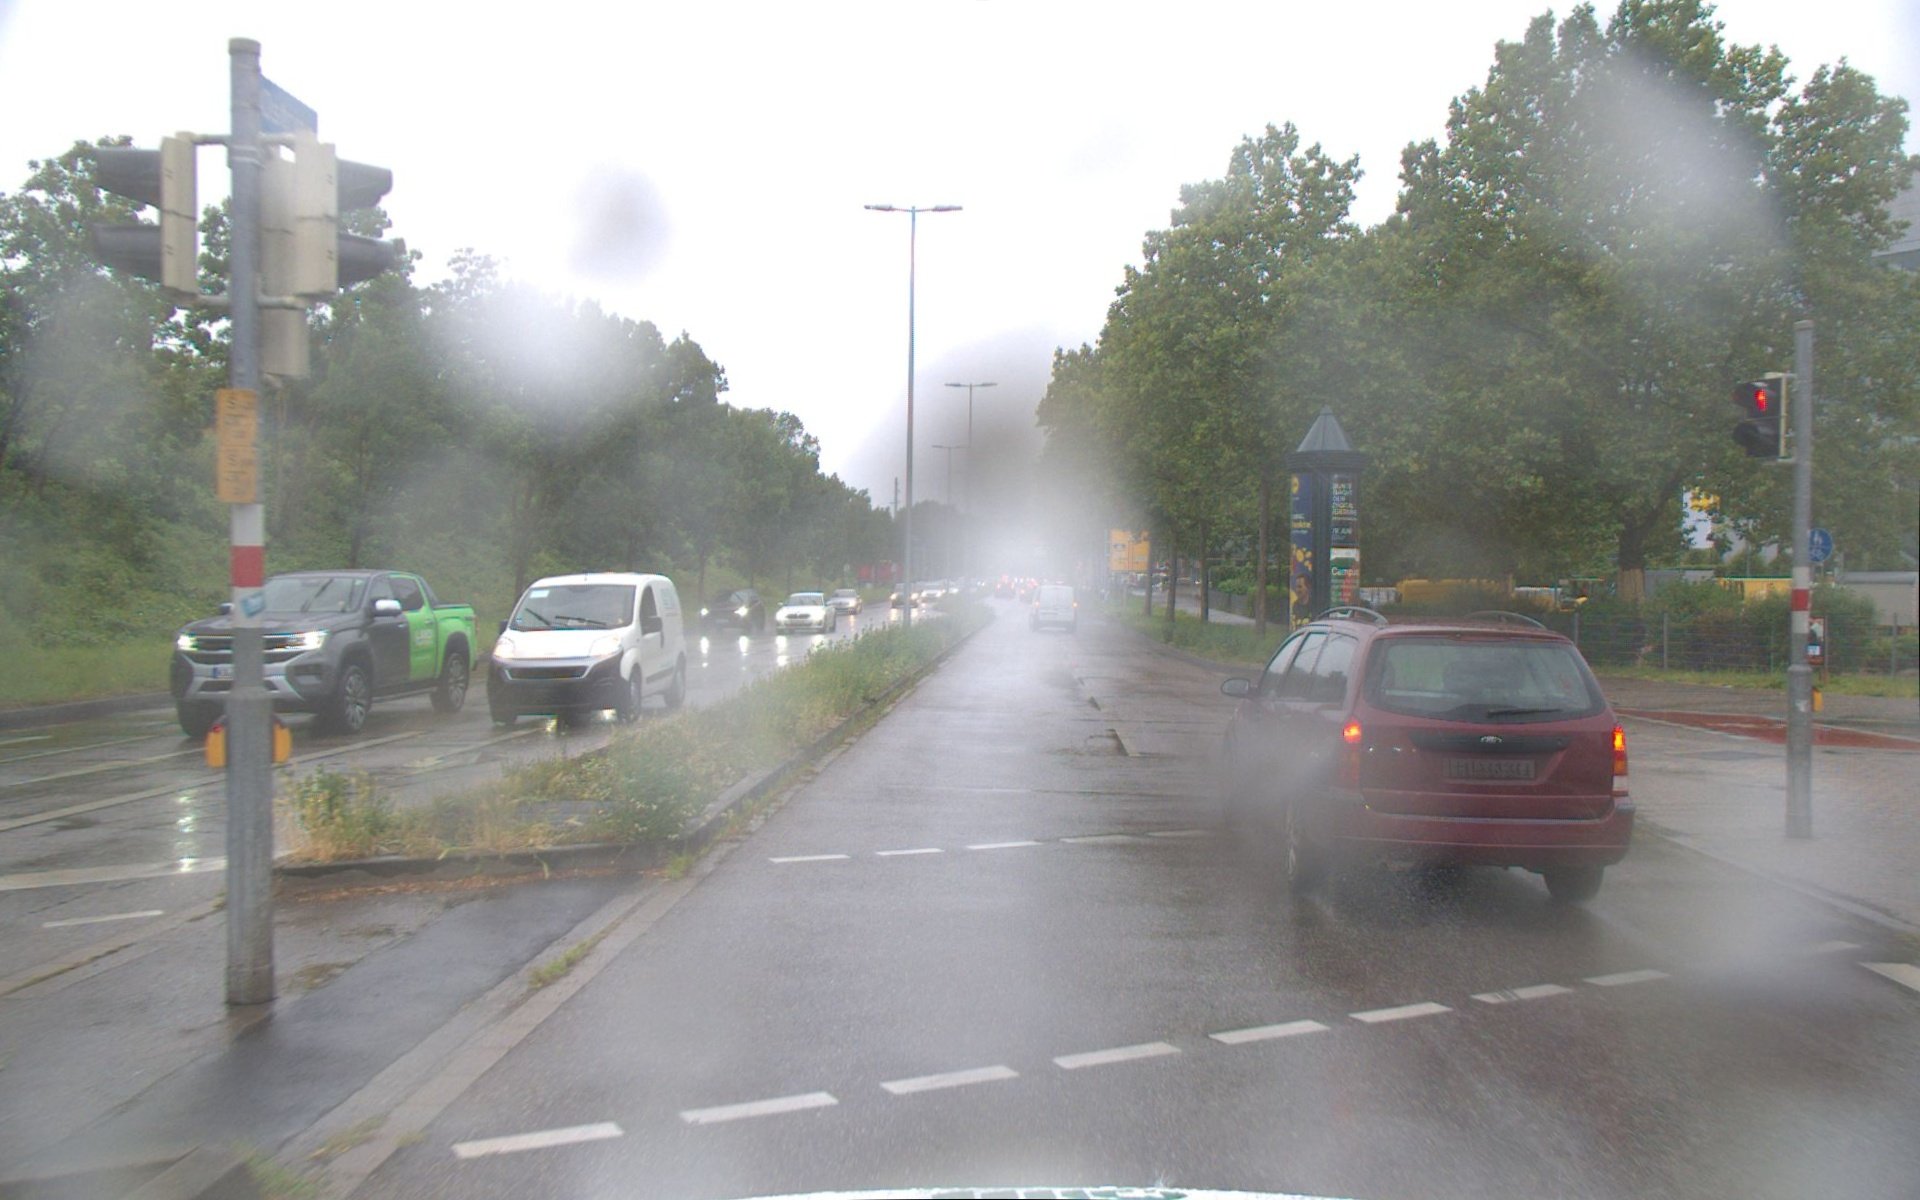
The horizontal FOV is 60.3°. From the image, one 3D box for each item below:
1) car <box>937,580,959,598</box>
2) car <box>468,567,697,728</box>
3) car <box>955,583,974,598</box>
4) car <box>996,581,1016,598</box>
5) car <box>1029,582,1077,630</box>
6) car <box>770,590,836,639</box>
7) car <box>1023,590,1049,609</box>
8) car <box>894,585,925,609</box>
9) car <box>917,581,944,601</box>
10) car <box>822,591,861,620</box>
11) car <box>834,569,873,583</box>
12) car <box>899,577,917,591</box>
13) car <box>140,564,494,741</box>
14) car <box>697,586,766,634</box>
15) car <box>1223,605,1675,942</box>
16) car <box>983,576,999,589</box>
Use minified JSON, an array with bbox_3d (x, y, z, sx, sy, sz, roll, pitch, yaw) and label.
[{"bbox_3d":[-1.135,-1.034,156.525,1.922,1.625,4.285,0,1,2],"label":"car"},{"bbox_3d":[-4.482,0.498,20.280,1.707,1.732,4.285,-1,1,1],"label":"car"},{"bbox_3d":[0.468,-1.050,180.264,1.922,1.625,4.285,0,1,2],"label":"car"},{"bbox_3d":[4.290,-1.006,154.657,1.662,1.554,3.848,0,0,4],"label":"car"},{"bbox_3d":[3.678,0.210,65.902,1.700,1.756,4.245,2,1,1],"label":"car"},{"bbox_3d":[-5.756,0.489,61.186,1.922,1.732,4.285,0,1,1],"label":"car"},{"bbox_3d":[6.429,-0.047,139.716,2.102,1.554,4.195,0,0,4],"label":"car"},{"bbox_3d":[-3.464,-0.244,113.898,1.922,1.625,4.285,0,1,1],"label":"car"},{"bbox_3d":[-2.350,-0.735,133.327,1.922,1.625,4.285,0,1,2],"label":"car"},{"bbox_3d":[-6.965,0.298,97.844,1.922,1.625,4.285,0,1,1],"label":"car"},{"bbox_3d":[-12.631,-2.852,196.246,4.231,1.625,1.947,0,1,-33],"label":"car"},{"bbox_3d":[-6.264,-1.917,198.365,1.922,1.625,4.285,0,1,1],"label":"car"},{"bbox_3d":[-7.506,0.521,20.071,2.023,1.851,5.543,0,1,1],"label":"car"},{"bbox_3d":[-8.581,0.355,62.377,1.922,1.732,4.285,0,1,1],"label":"car"},{"bbox_3d":[2.657,0.843,9.856,1.608,1.490,3.733,3,1,1],"label":"car"},{"bbox_3d":[3.704,-2.103,196.792,1.662,1.554,3.848,0,0,4],"label":"car"}]
